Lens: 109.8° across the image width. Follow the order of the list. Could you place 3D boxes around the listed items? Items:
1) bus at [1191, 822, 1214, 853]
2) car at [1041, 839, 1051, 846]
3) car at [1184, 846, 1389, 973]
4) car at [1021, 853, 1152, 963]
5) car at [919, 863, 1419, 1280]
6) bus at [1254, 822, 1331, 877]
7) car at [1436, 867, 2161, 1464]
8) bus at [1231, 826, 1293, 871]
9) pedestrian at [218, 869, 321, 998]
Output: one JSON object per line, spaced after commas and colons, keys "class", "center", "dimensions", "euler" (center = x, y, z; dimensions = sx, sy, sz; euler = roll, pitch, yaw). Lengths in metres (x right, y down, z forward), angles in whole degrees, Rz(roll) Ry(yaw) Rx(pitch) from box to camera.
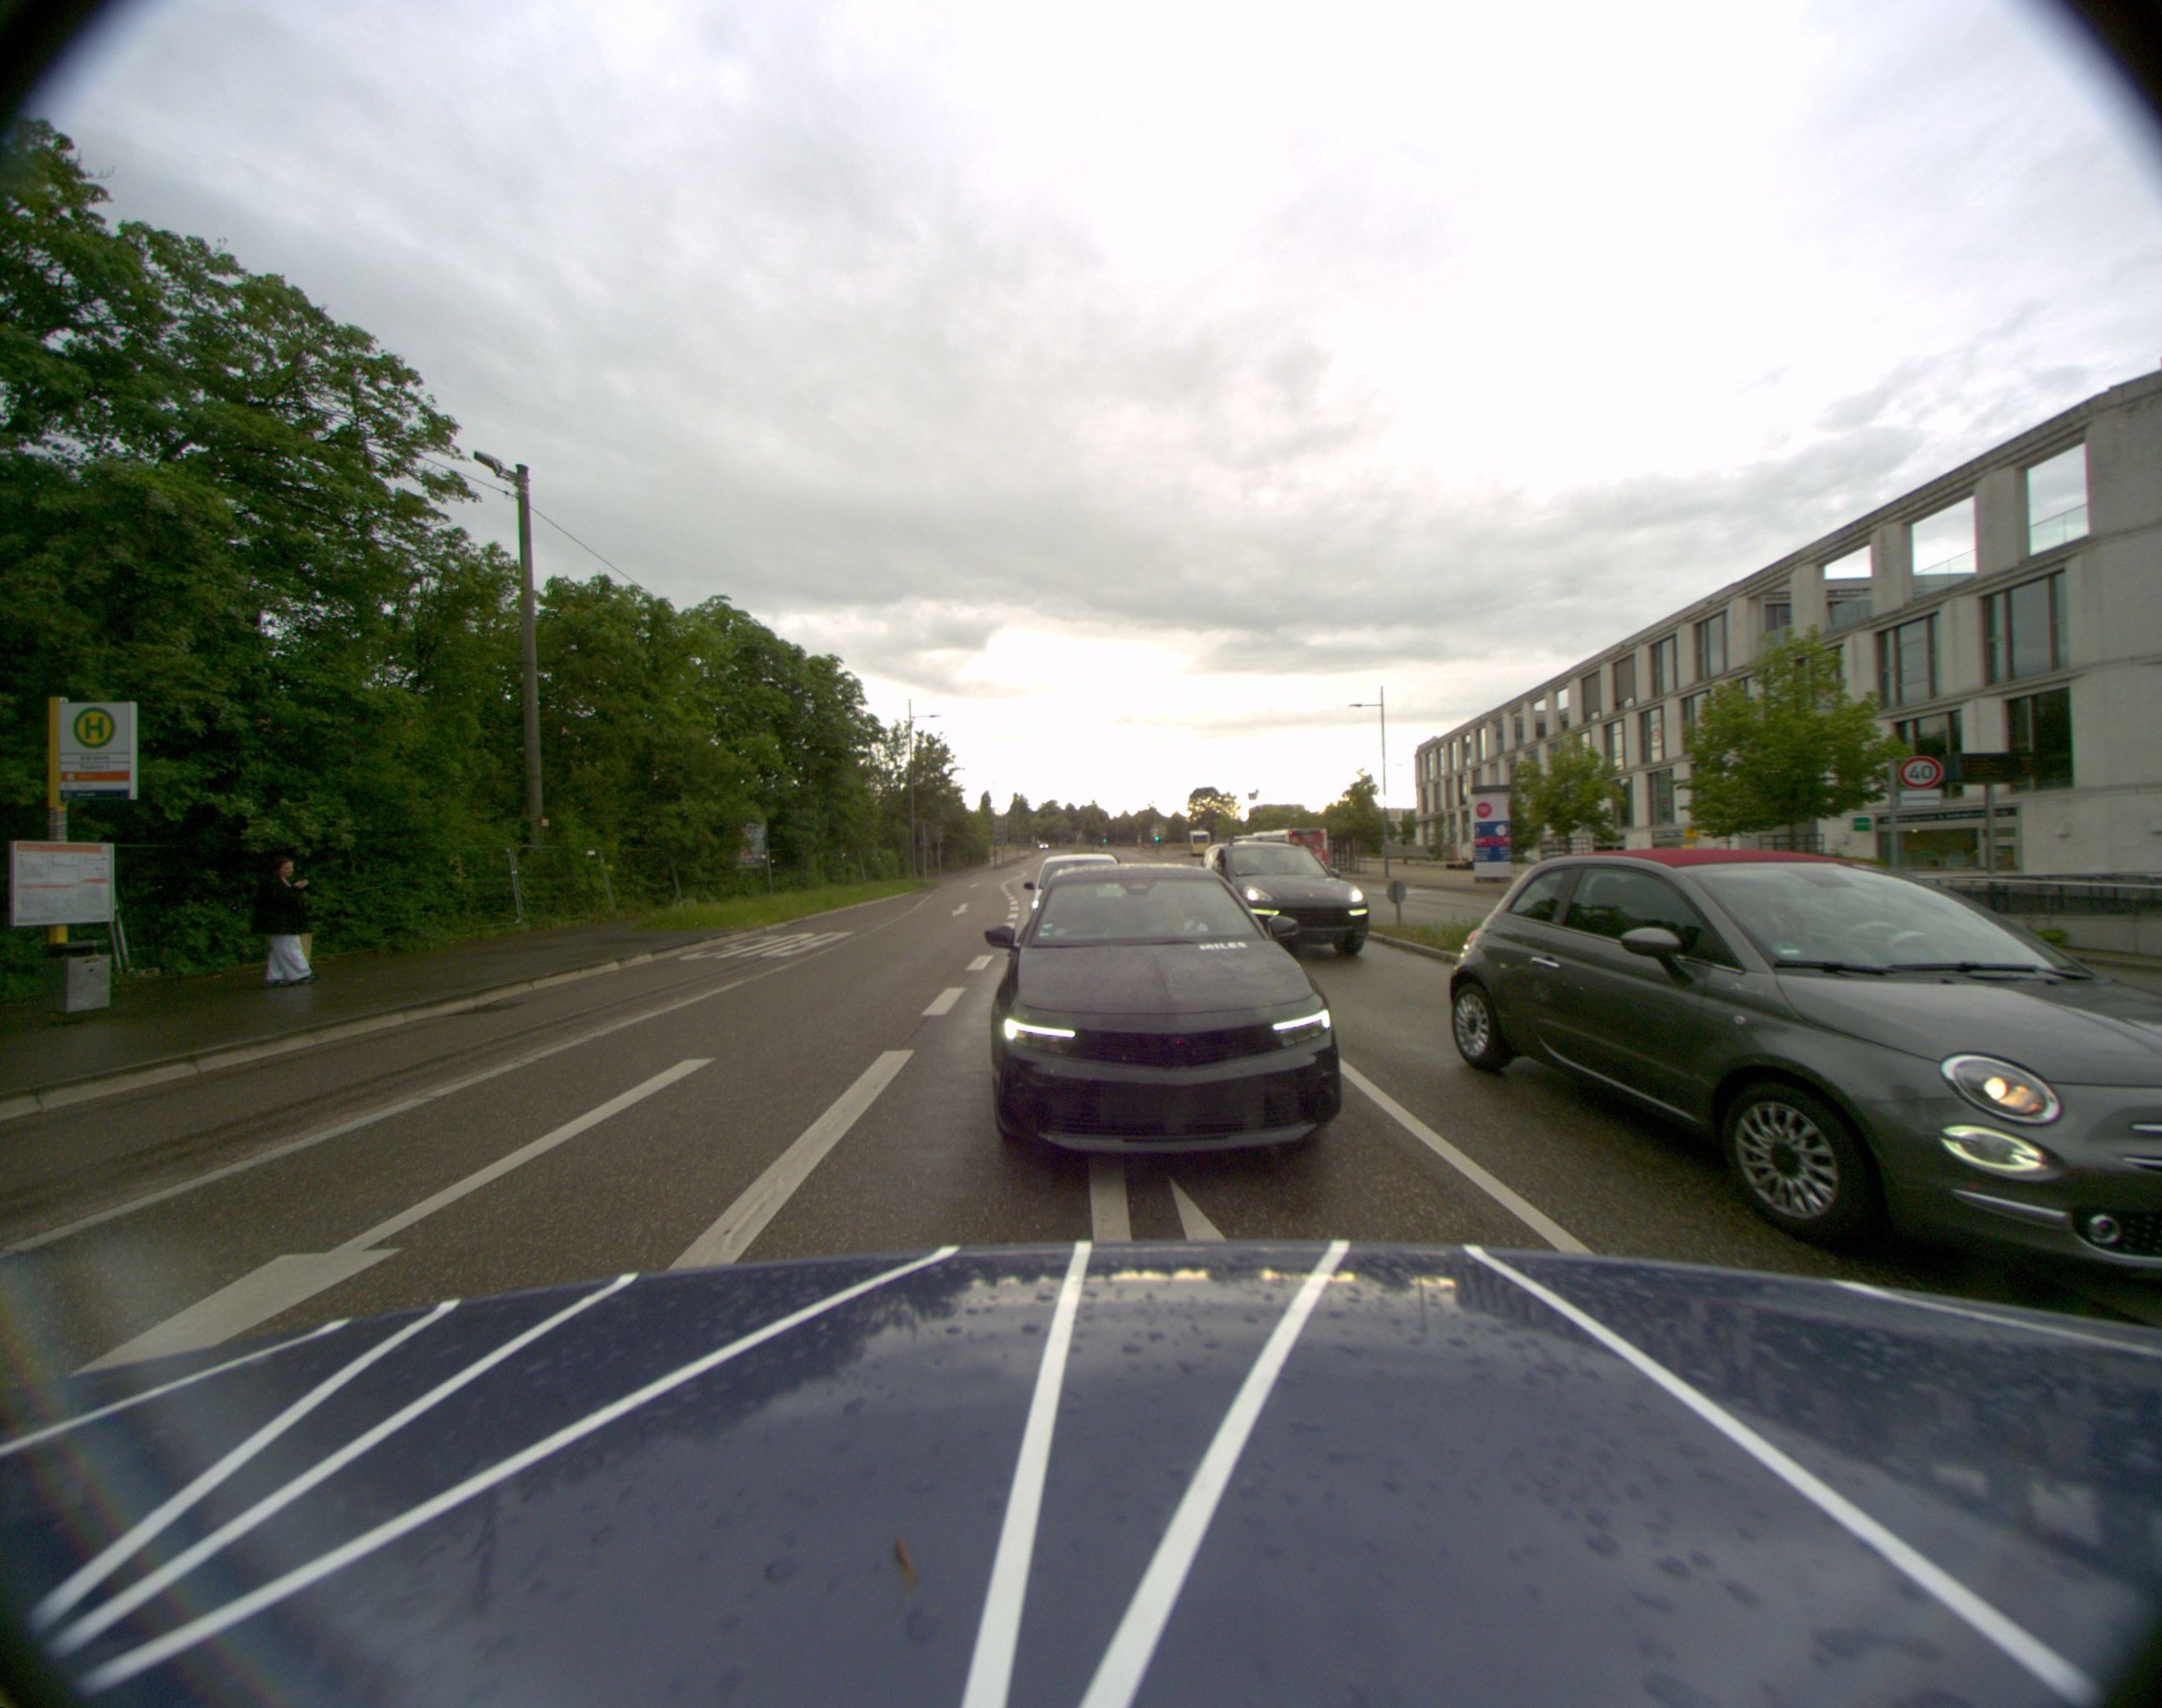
{"class": "bus", "center": [18.394, -2.426, 114.016], "dimensions": [2.757, 4.129, 19.359], "euler": [-2, 1, 11]}
{"class": "car", "center": [-9.132, -2.912, 197.833], "dimensions": [2.000, 1.805, 3.996], "euler": [-2, 1, -10]}
{"class": "car", "center": [3.022, 0.714, 12.316], "dimensions": [1.934, 1.649, 4.617], "euler": [-1, 0, -2]}
{"class": "car", "center": [0.113, 0.803, 13.689], "dimensions": [1.901, 1.524, 4.767], "euler": [-2, 1, 1]}
{"class": "car", "center": [0.377, 0.886, 5.348], "dimensions": [1.901, 1.456, 4.767], "euler": [-2, 1, 1]}
{"class": "bus", "center": [13.821, -0.313, 50.539], "dimensions": [2.759, 3.194, 9.207], "euler": [-2, 1, 2]}
{"class": "car", "center": [3.427, 0.859, 3.775], "dimensions": [1.631, 1.473, 3.505], "euler": [-1, 1, -1]}
{"class": "bus", "center": [14.112, -0.453, 60.044], "dimensions": [2.693, 3.163, 9.912], "euler": [-2, 1, 2]}
{"class": "pedestrian", "center": [-10.590, 1.012, 9.938], "dimensions": [0.588, 1.618, 0.661], "euler": [-1, 1, 1]}
